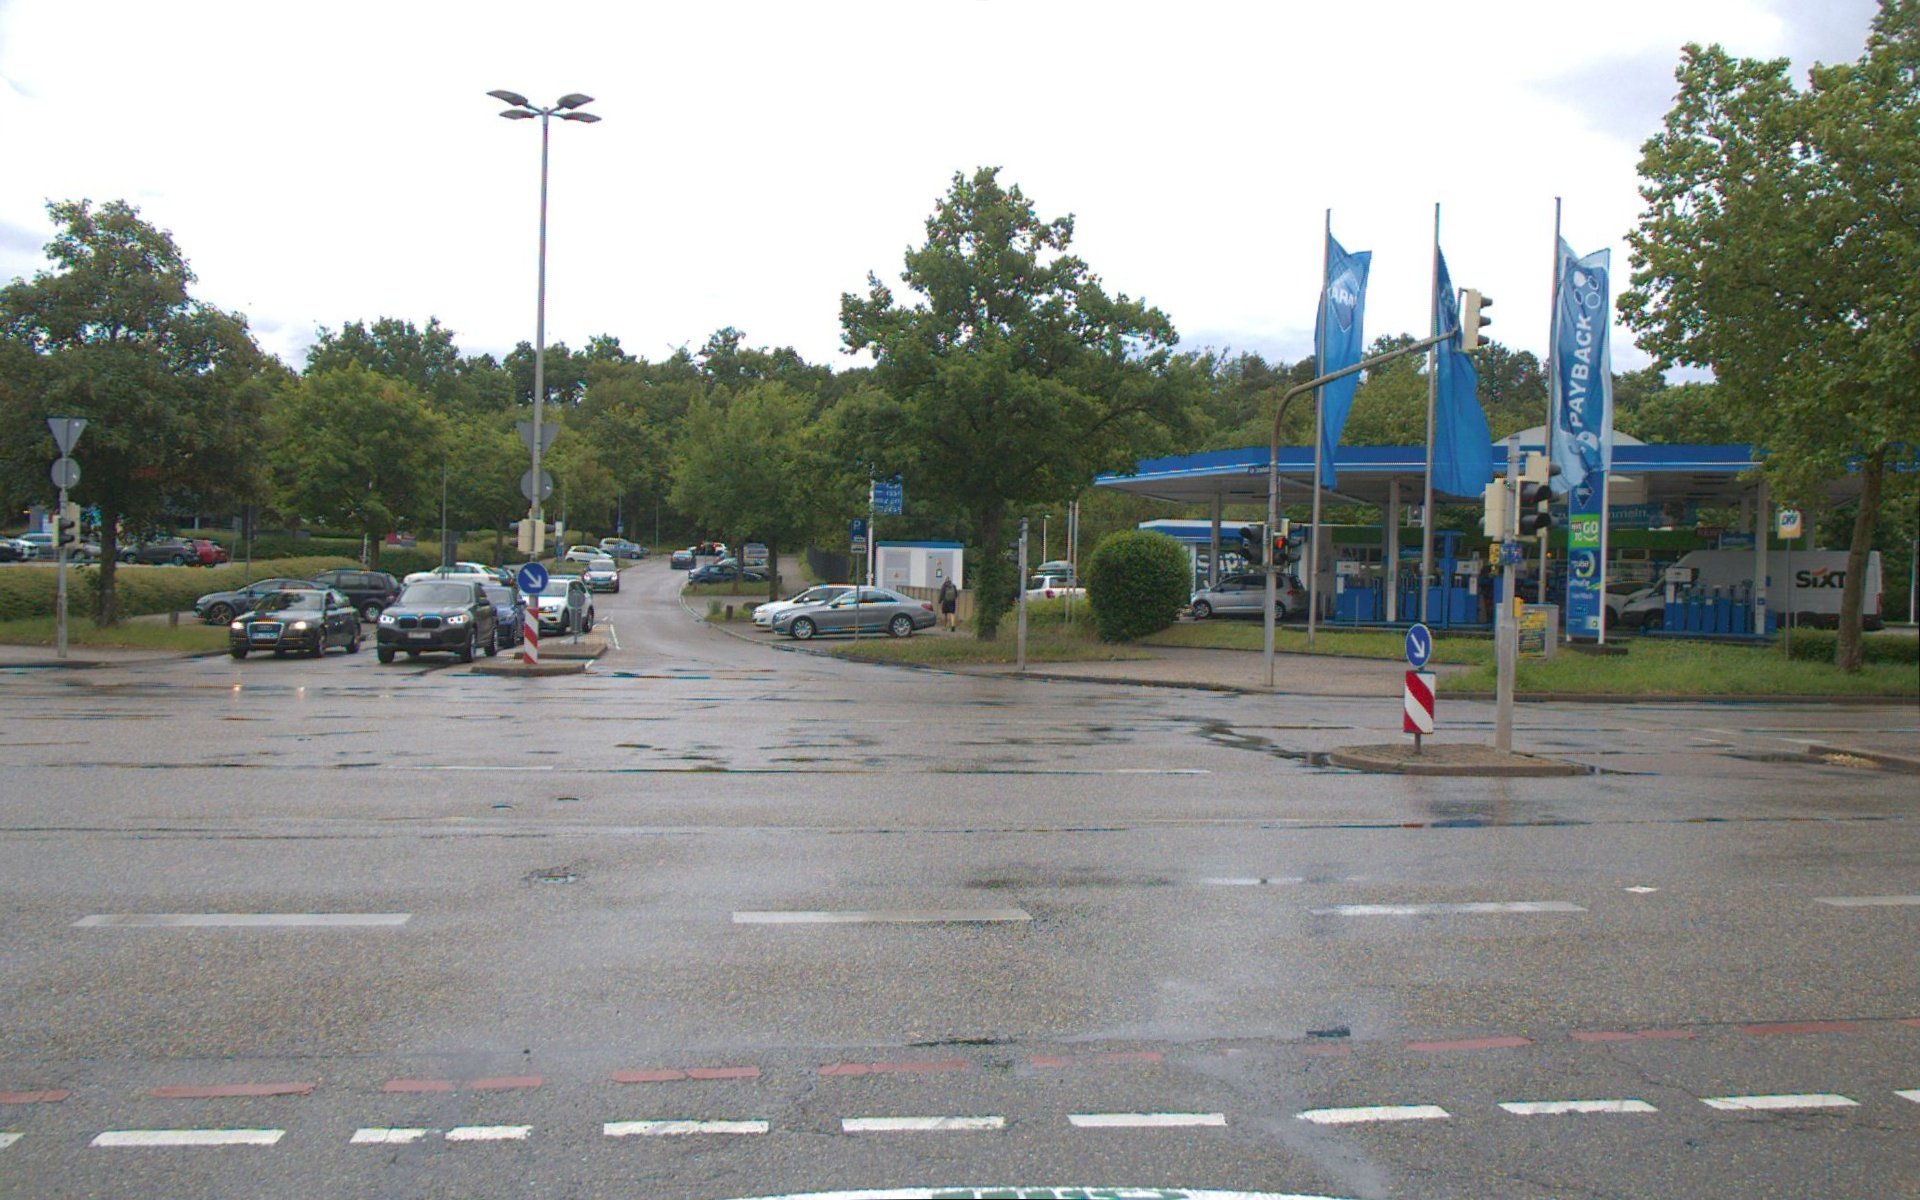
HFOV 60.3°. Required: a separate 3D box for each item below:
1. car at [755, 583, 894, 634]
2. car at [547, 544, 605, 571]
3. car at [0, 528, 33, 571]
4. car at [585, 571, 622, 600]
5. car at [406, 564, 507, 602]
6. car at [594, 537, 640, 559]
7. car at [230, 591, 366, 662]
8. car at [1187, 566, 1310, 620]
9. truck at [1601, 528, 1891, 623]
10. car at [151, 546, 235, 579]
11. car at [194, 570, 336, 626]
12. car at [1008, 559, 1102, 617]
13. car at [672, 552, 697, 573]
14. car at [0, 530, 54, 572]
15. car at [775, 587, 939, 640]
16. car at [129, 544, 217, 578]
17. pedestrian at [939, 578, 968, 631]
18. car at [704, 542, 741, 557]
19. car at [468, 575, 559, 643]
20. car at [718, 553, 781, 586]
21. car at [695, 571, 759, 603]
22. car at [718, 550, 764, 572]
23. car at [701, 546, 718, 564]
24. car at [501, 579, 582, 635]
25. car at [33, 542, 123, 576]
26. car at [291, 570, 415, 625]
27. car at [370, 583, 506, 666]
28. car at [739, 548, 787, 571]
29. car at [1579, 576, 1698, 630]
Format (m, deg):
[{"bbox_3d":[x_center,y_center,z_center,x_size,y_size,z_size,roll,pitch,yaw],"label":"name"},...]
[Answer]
[{"bbox_3d":[-4.592,0.295,55.745,4.491,1.617,1.924,1,0,-11],"label":"car"},{"bbox_3d":[-27.448,-3.012,118.383,3.915,1.825,1.851,0,0,-11],"label":"car"},{"bbox_3d":[-39.916,-2.069,67.008,3.738,1.674,1.672,1,0,-3],"label":"car"},{"bbox_3d":[-18.856,-0.759,87.494,1.666,1.481,3.666,0,0,-8],"label":"car"},{"bbox_3d":[-23.030,-0.758,75.793,4.191,1.637,1.682,1,0,-8],"label":"car"},{"bbox_3d":[-30.817,-4.675,148.679,3.910,1.825,1.854,0,0,-6],"label":"car"},{"bbox_3d":[-14.263,0.546,35.853,1.749,1.429,3.993,1,0,-7],"label":"car"},{"bbox_3d":[10.517,-0.246,60.203,4.032,1.839,1.945,1,0,24],"label":"car"},{"bbox_3d":[23.329,-0.695,49.518,7.686,2.722,2.155,0,-1,21],"label":"truck"},{"bbox_3d":[-41.293,-2.013,89.094,3.738,1.674,1.672,1,0,-3],"label":"car"},{"bbox_3d":[-20.562,-0.059,49.059,3.583,1.580,1.680,1,0,-11],"label":"car"},{"bbox_3d":[3.117,-0.378,54.916,1.782,1.828,3.677,1,0,-21],"label":"car"},{"bbox_3d":[-21.384,-2.883,128.530,1.773,1.508,3.745,1,0,-7],"label":"car"},{"bbox_3d":[-40.572,-2.074,69.754,3.738,1.674,1.672,1,0,-3],"label":"car"},{"bbox_3d":[-3.186,0.419,50.559,4.799,1.576,1.995,0,0,-11],"label":"car"},{"bbox_3d":[-41.032,-2.018,86.322,3.738,1.674,1.672,1,0,-3],"label":"car"},{"bbox_3d":[-0.210,0.151,53.682,0.794,1.690,0.884,0,0,-10],"label":"pedestrian"},{"bbox_3d":[-26.424,-5.589,184.179,3.910,1.557,1.803,0,0,-6],"label":"car"},{"bbox_3d":[-11.672,0.243,43.449,1.762,1.661,4.542,1,0,-9],"label":"car"},{"bbox_3d":[-12.492,-1.797,97.936,3.630,1.780,1.693,1,0,-9],"label":"car"},{"bbox_3d":[-12.837,-0.722,91.083,3.396,1.683,1.613,1,0,-9],"label":"car"},{"bbox_3d":[-19.171,-3.400,144.820,3.914,1.769,1.806,1,0,-10],"label":"car"},{"bbox_3d":[-26.663,-4.755,176.224,1.771,1.769,3.992,1,0,-9],"label":"car"},{"bbox_3d":[-12.368,0.208,49.089,1.860,1.580,3.993,1,0,-7],"label":"car"},{"bbox_3d":[-45.940,-2.138,86.195,3.738,1.674,1.672,1,0,-3],"label":"car"},{"bbox_3d":[-20.050,-0.086,54.785,3.583,1.755,1.680,1,0,-11],"label":"car"},{"bbox_3d":[-10.670,0.477,34.145,1.860,1.580,4.584,1,0,-7],"label":"car"},{"bbox_3d":[-16.406,-3.371,137.592,3.914,1.769,1.806,1,0,-10],"label":"car"},{"bbox_3d":[22.610,0.093,55.137,3.483,1.609,1.687,3,1,28],"label":"car"}]
